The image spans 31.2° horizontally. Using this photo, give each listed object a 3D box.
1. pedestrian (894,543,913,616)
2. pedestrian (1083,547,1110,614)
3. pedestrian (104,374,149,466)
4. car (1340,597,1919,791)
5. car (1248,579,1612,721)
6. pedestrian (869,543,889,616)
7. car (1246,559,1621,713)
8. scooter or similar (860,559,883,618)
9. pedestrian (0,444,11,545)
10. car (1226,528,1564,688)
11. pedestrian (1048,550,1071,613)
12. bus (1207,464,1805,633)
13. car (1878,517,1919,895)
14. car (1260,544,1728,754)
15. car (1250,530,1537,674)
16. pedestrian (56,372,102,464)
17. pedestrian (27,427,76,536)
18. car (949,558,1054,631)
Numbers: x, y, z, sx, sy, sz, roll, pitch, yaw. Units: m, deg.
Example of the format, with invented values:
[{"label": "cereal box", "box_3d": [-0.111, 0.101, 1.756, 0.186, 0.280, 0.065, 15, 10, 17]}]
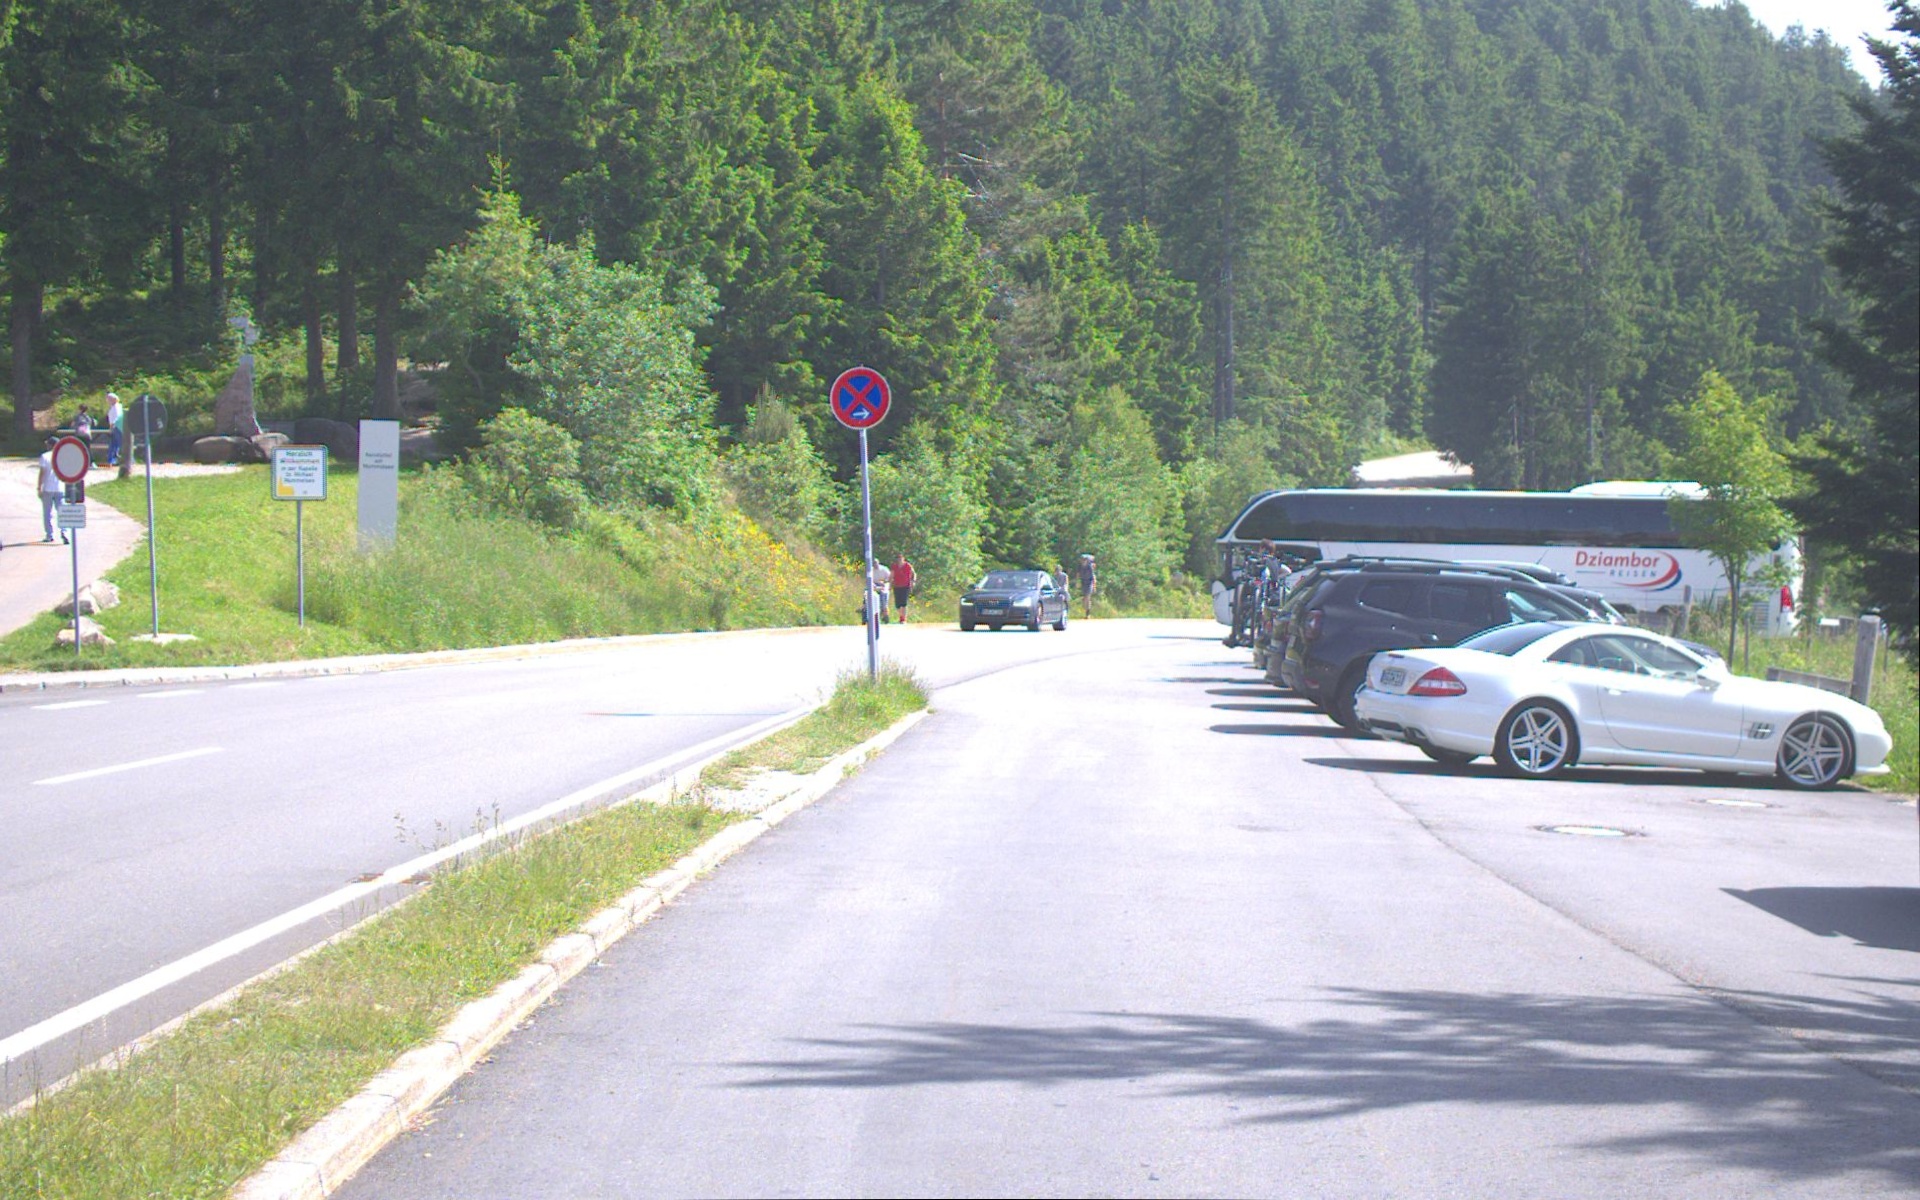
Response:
[{"label": "pedestrian", "box_3d": [-1.348, -0.493, 82.561, 0.394, 1.741, 0.406, -2, 2, 1]}, {"label": "pedestrian", "box_3d": [4.132, -0.593, 103.933, 0.732, 2.007, 0.862, -2, 0, 1]}, {"label": "pedestrian", "box_3d": [-18.555, -4.012, 76.555, 0.815, 2.006, 0.854, -2, 2, -7]}, {"label": "car", "box_3d": [5.603, 0.785, 28.822, 4.452, 1.294, 1.583, 4, 1, -15]}, {"label": "car", "box_3d": [5.001, 0.517, 36.879, 3.636, 1.299, 1.641, 2, 3, 0]}, {"label": "pedestrian", "box_3d": [-1.954, -0.498, 83.083, 0.415, 1.741, 0.457, -2, 2, 1]}, {"label": "car", "box_3d": [5.425, 0.392, 39.809, 3.987, 1.448, 2.000, 3, 3, 0]}, {"label": "scooter or similar", "box_3d": [-2.115, -0.282, 82.439, 0.483, 1.375, 0.817, -2, 2, 1]}, {"label": "pedestrian", "box_3d": [-16.181, -1.744, 57.104, 0.652, 1.661, 0.643, -1, 0, -5]}, {"label": "car", "box_3d": [5.462, 0.085, 43.573, 3.987, 1.713, 1.868, 3, 3, 1]}, {"label": "pedestrian", "box_3d": [3.040, -0.555, 105.074, 0.622, 1.893, 0.655, -2, 0, 1]}, {"label": "bus", "box_3d": [12.129, -1.221, 76.737, 12.871, 3.565, 2.979, 1, 3, 18]}, {"label": "car", "box_3d": [5.950, 0.636, 16.319, 1.905, 1.966, 4.819, 4, 1, 2]}, {"label": "car", "box_3d": [5.109, 0.454, 33.268, 3.986, 1.693, 2.001, 3, 2, -6]}, {"label": "car", "box_3d": [6.347, 0.009, 50.711, 3.987, 1.808, 1.940, 3, 3, 3]}, {"label": "pedestrian", "box_3d": [-19.707, -4.064, 76.908, 0.797, 2.006, 0.940, -2, 2, -7]}, {"label": "pedestrian", "box_3d": [-15.285, -1.987, 57.854, 0.652, 1.793, 0.643, -1, 0, -5]}, {"label": "car", "box_3d": [1.017, -0.146, 82.207, 1.994, 1.656, 3.999, 0, 1, 8]}]
